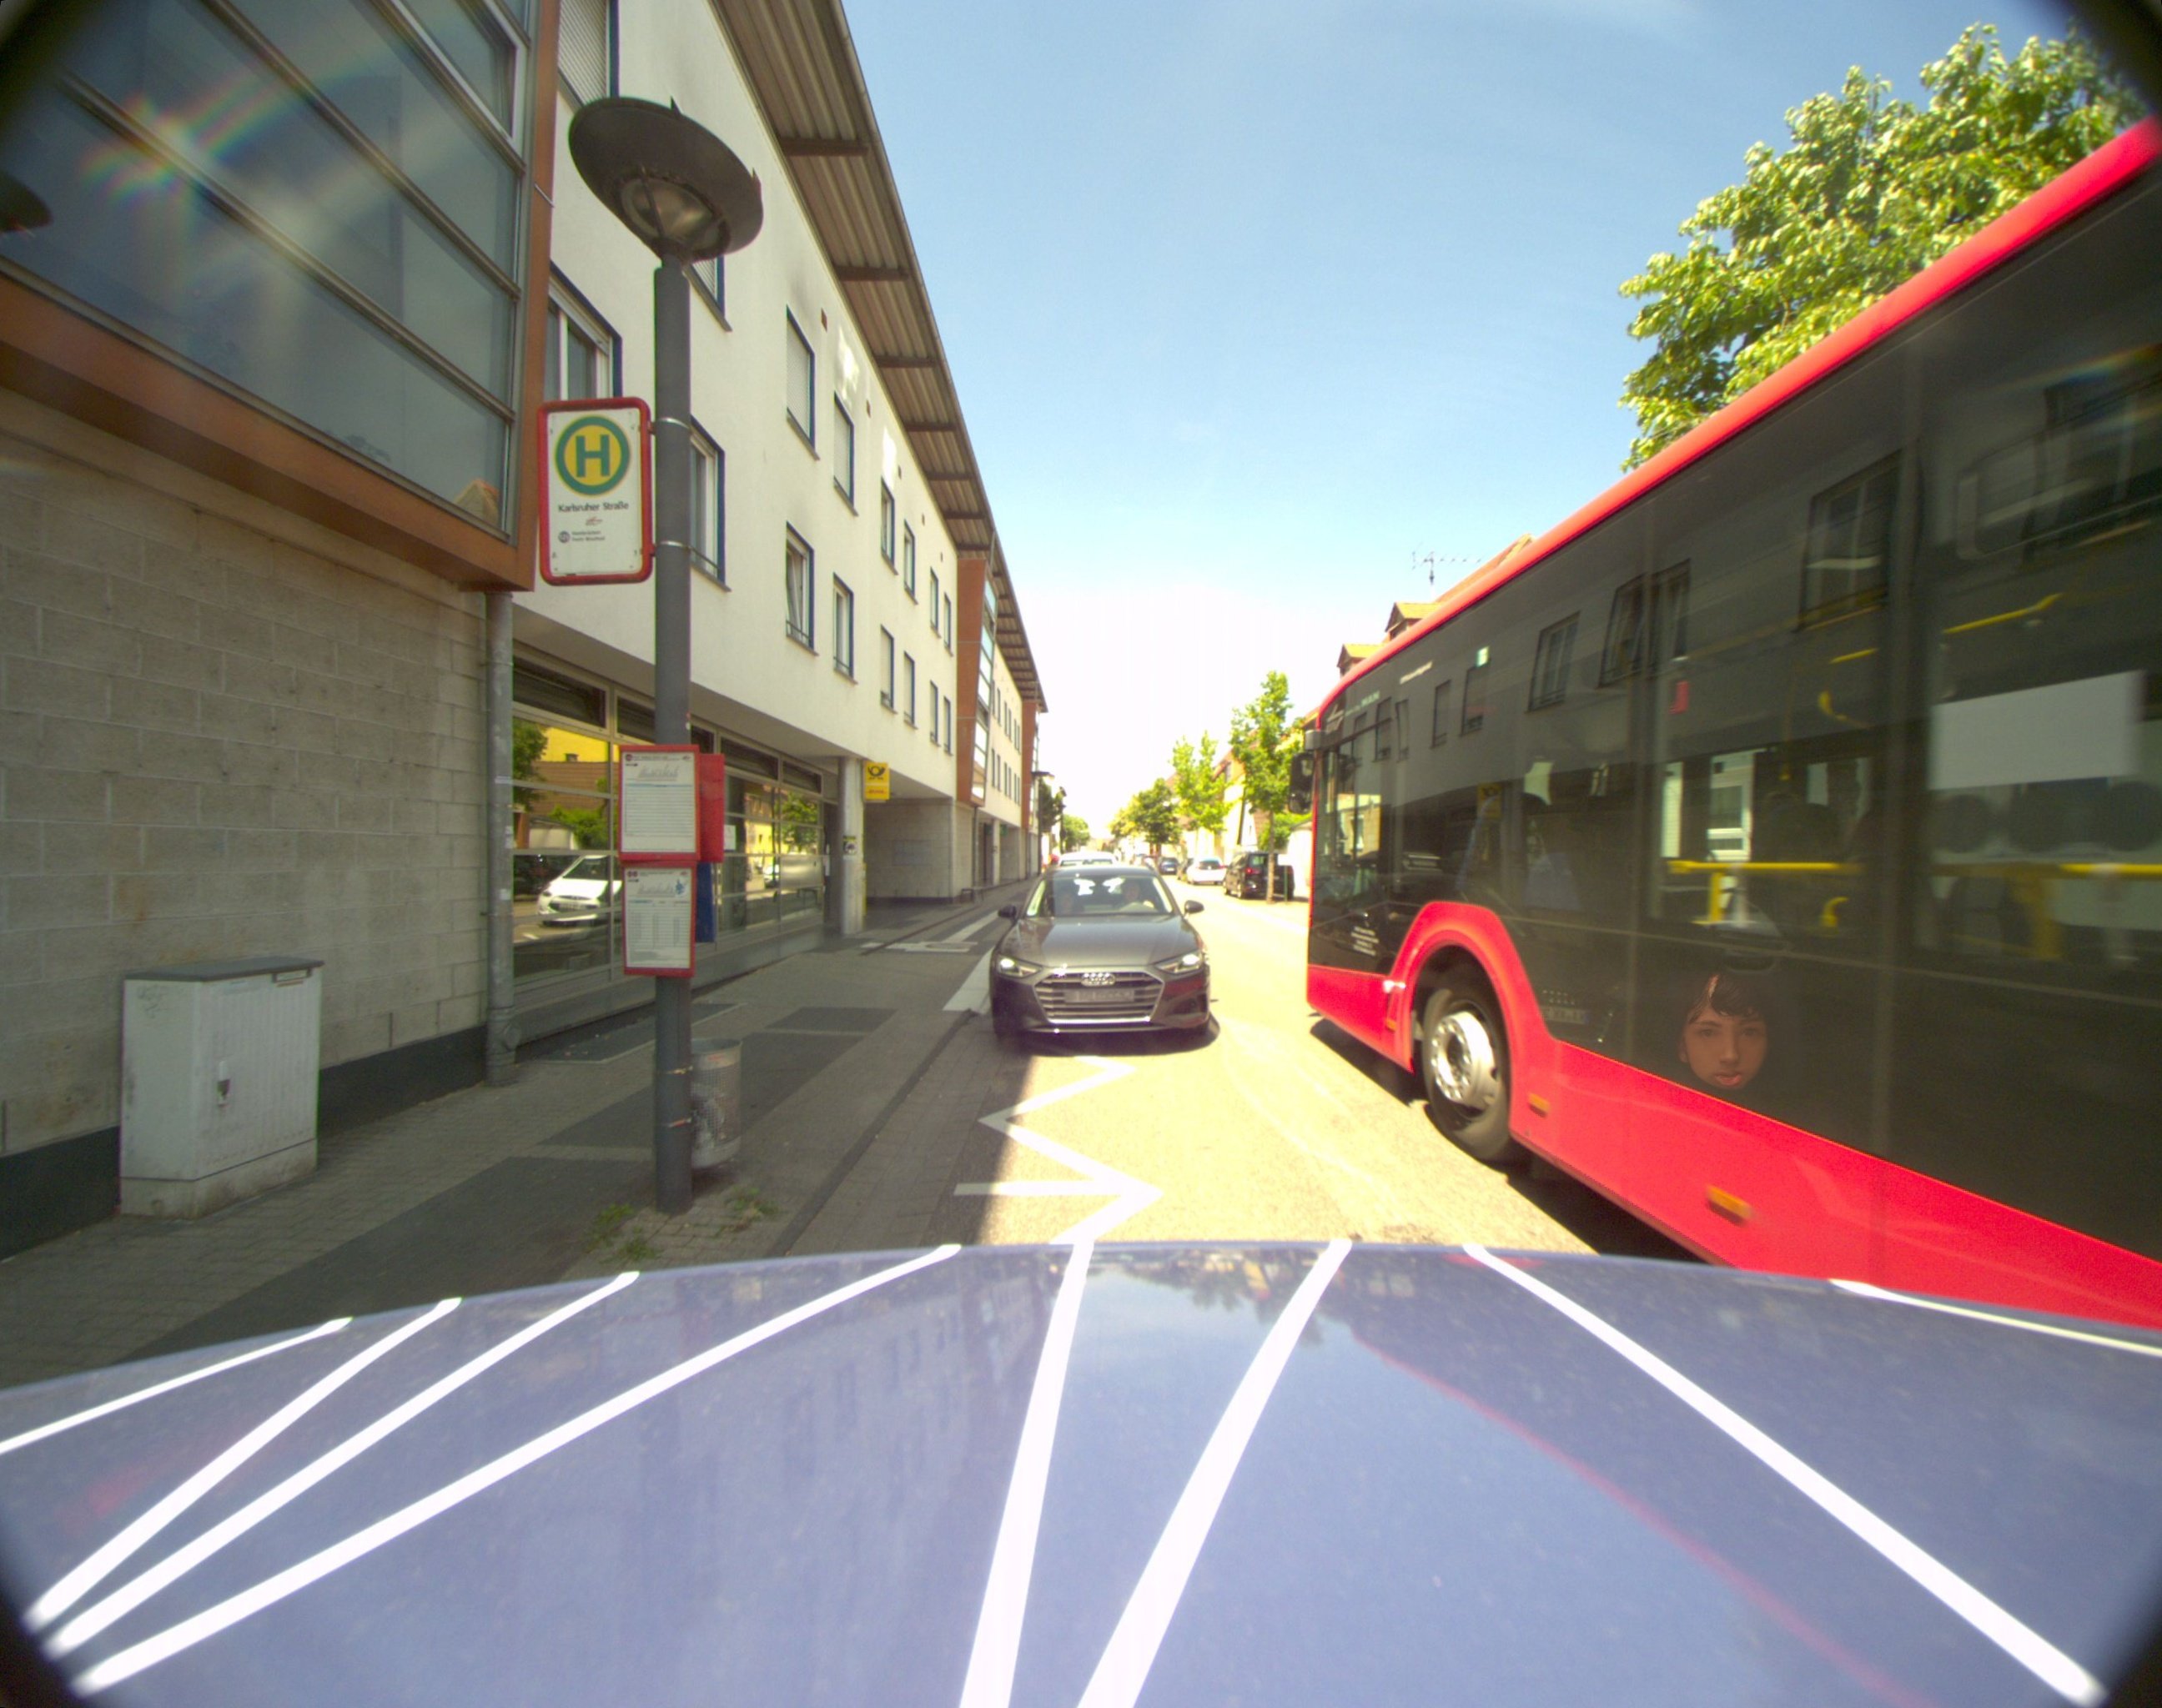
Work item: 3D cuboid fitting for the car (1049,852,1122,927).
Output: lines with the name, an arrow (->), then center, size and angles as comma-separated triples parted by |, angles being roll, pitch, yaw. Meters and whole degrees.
car -> 0.119, 0.783, 18.657 | 1.581, 1.620, 4.065 | 1, 0, 1

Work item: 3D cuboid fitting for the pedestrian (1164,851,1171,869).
pedestrian -> 7.647, 0.496, 67.236 | 0.631, 1.592, 0.528 | 0, 1, 1

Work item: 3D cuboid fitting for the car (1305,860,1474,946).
car -> 6.025, 0.872, 15.430 | 1.724, 1.428, 4.460 | -1, 0, 2

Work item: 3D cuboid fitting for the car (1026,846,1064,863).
car -> -4.129, 0.060, 87.026 | 4.203, 1.849, 2.000 | 1, 0, 0

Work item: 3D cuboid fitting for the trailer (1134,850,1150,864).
trailer -> 7.224, 0.319, 90.350 | 1.493, 1.571, 3.883 | -3, 0, -1

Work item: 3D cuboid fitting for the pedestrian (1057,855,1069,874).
pedestrian -> -1.548, 0.895, 65.505 | 0.825, 1.579, 0.919 | 3, 1, 1

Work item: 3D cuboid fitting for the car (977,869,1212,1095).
car -> 0.115, 0.925, 7.271 | 1.581, 1.424, 4.065 | -2, 0, 1

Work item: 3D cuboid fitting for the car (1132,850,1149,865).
car -> 7.441, 0.405, 94.693 | 1.695, 1.742, 3.999 | -2, 0, -1

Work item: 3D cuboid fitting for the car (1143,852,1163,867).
car -> 7.339, 0.555, 77.875 | 1.753, 1.566, 4.158 | 0, 0, 1

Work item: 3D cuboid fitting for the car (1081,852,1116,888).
car -> 0.802, 0.726, 36.365 | 1.581, 1.620, 4.065 | 1, 0, 1

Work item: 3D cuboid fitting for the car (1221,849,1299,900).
car -> 6.380, 0.676, 27.569 | 1.780, 1.716, 4.519 | 0, 0, 1

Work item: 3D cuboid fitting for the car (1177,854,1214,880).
car -> 6.795, 0.764, 45.317 | 1.649, 1.422, 4.099 | 1, 0, 1

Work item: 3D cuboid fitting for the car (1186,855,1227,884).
car -> 6.444, 0.761, 39.275 | 1.557, 1.422, 3.410 | 1, 0, 1

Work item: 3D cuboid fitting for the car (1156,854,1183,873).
car -> 6.733, 0.676, 58.265 | 1.660, 1.399, 4.158 | 0, 0, 1
